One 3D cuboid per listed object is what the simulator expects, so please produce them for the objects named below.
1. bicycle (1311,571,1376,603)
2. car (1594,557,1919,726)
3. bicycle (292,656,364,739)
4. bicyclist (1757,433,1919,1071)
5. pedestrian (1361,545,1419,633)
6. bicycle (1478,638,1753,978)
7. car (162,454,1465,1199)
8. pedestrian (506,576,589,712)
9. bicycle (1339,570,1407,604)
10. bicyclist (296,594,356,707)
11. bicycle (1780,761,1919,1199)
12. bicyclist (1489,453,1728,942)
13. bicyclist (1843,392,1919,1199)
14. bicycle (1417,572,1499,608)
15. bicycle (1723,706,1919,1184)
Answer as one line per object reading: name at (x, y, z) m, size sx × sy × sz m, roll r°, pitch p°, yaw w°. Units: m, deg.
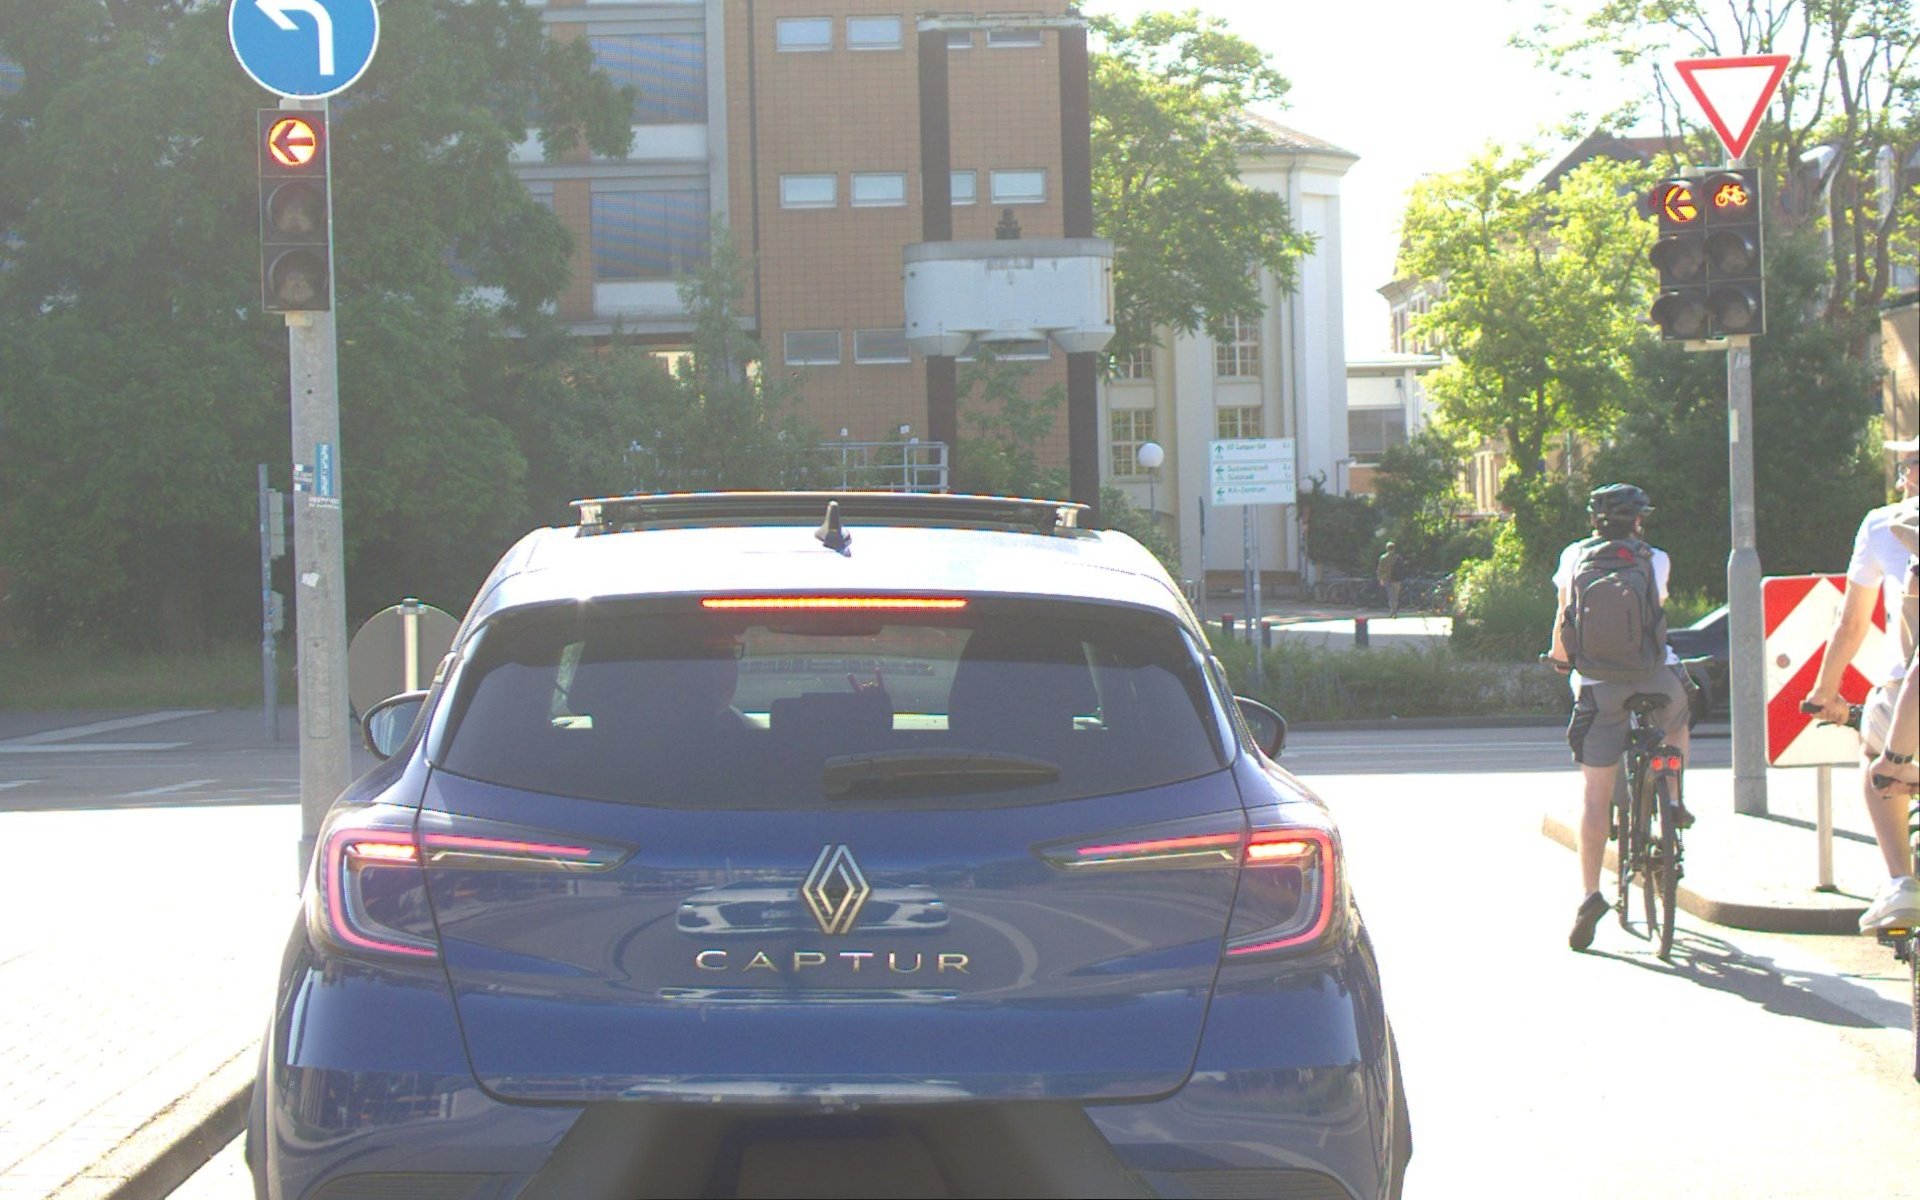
bicycle at (11.058, -0.382, 99.210) m, size 1.771 × 0.890 × 0.765 m, roll -1°, pitch 1°, yaw 0°
car at (8.302, 0.390, 33.929) m, size 3.988 × 1.565 × 1.835 m, roll -1°, pitch 1°, yaw 10°
bicycle at (-8.048, 1.254, 43.737) m, size 0.698 × 1.004 × 1.868 m, roll -2°, pitch -2°, yaw -16°
bicyclist at (2.584, 0.373, 9.044) m, size 0.674 × 1.577 × 1.081 m, roll 1°, pitch 1°, yaw -1°
pedestrian at (9.969, -0.268, 79.775) m, size 1.156 × 2.007 × 1.164 m, roll -1°, pitch 1°, yaw 0°
bicycle at (2.418, 0.733, 12.871) m, size 0.615 × 1.134 × 1.826 m, roll 0°, pitch 1°, yaw -2°
car at (-0.253, 0.593, 6.684) m, size 1.794 × 1.649 × 3.853 m, roll 0°, pitch 1°, yaw -2°
pedestrian at (-5.740, 0.608, 47.875) m, size 0.932 × 1.849 × 0.807 m, roll -1°, pitch 1°, yaw 9°
bicycle at (11.397, -0.351, 94.846) m, size 1.771 × 0.895 × 0.765 m, roll -1°, pitch 1°, yaw 0°
bicyclist at (-8.087, 0.648, 43.856) m, size 0.647 × 1.407 × 0.639 m, roll -1°, pitch -2°, yaw -16°
bicycle at (2.306, 0.906, 6.989) m, size 0.747 × 1.047 × 1.903 m, roll -1°, pitch 1°, yaw -2°
bicyclist at (2.438, 0.354, 13.008) m, size 0.676 × 1.779 × 0.940 m, roll 1°, pitch 0°, yaw -2°
bicyclist at (2.291, 0.412, 6.936) m, size 0.740 × 1.668 × 0.866 m, roll -1°, pitch 1°, yaw -2°
bicycle at (12.027, -0.238, 83.044) m, size 1.770 × 0.820 × 0.766 m, roll -1°, pitch 1°, yaw -10°
bicycle at (2.583, 0.848, 9.047) m, size 0.671 × 1.047 × 1.844 m, roll 1°, pitch 1°, yaw -2°
